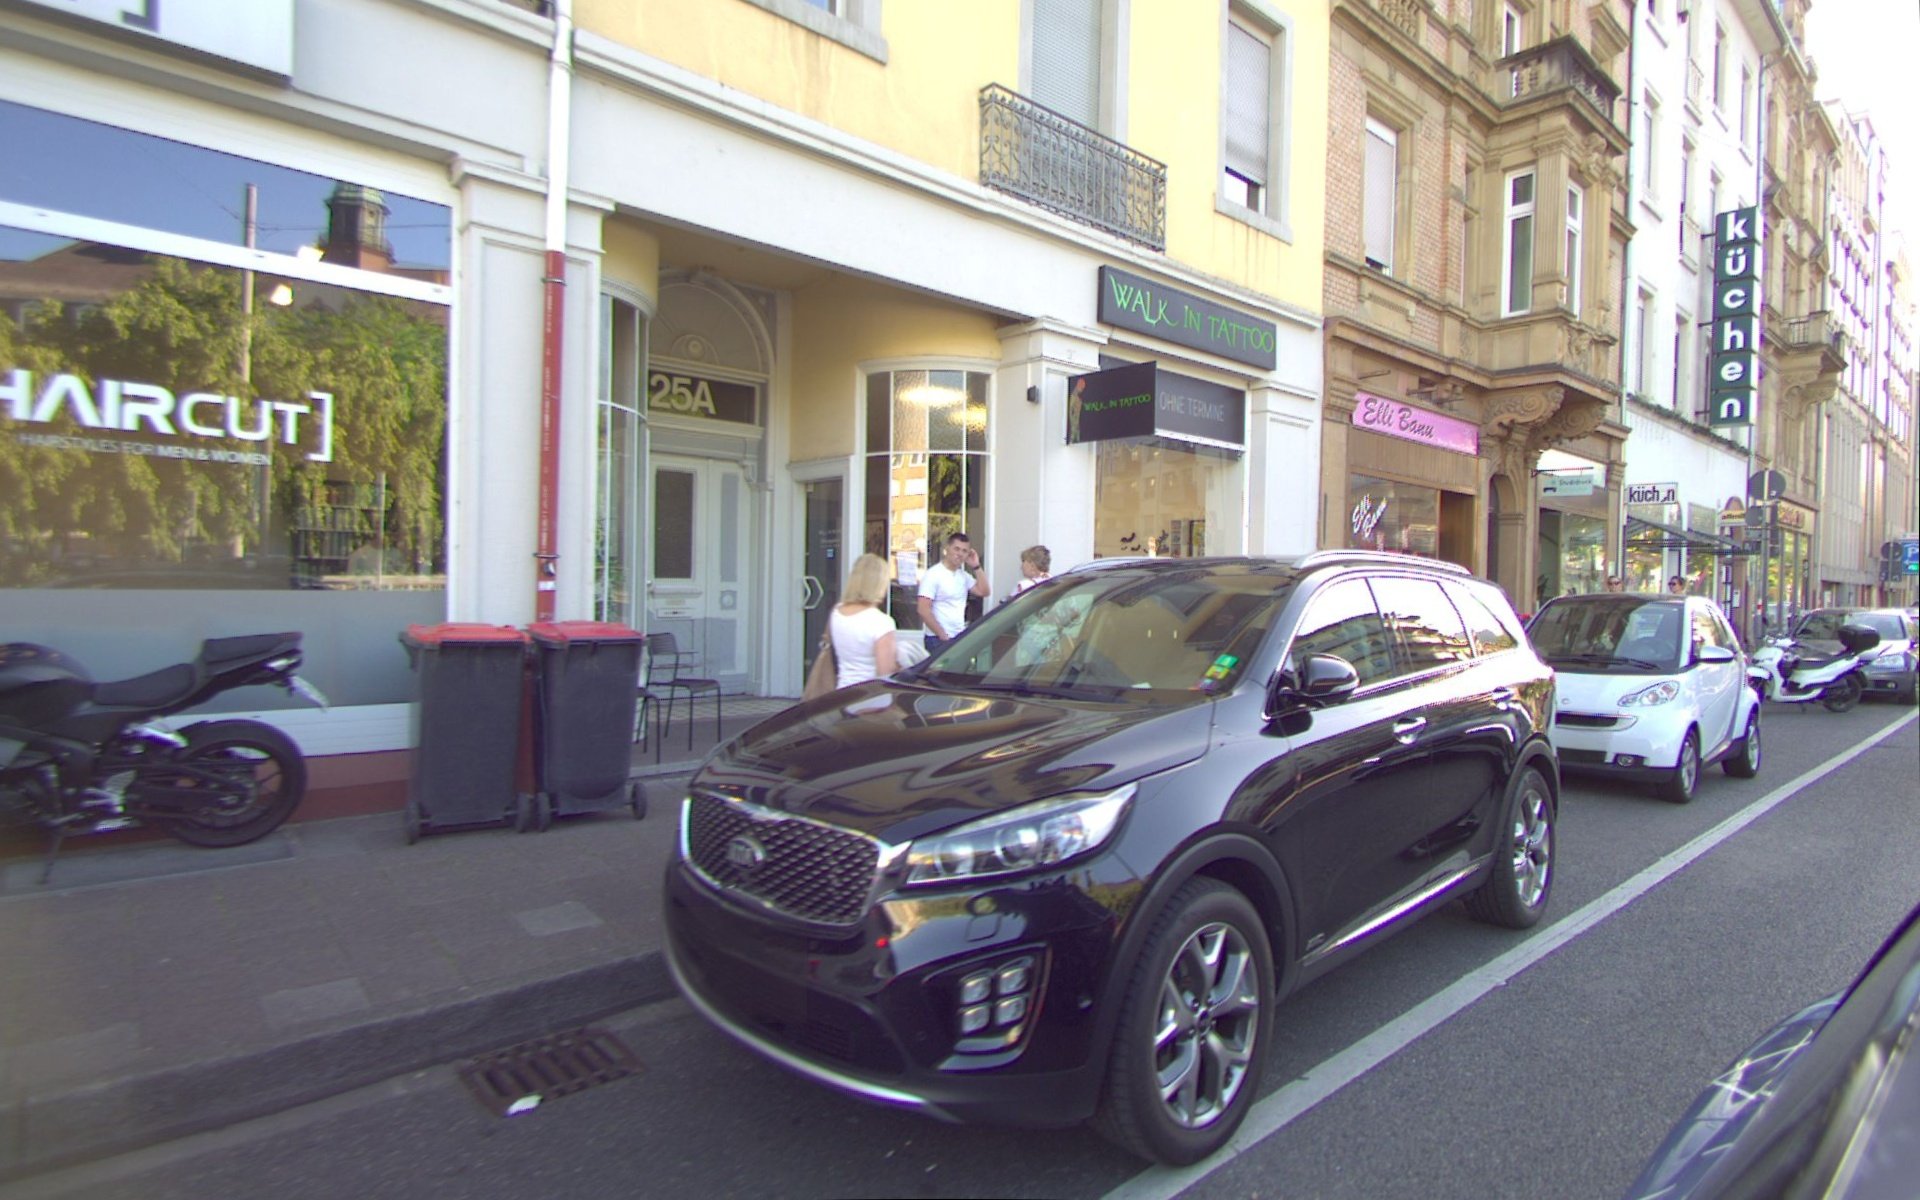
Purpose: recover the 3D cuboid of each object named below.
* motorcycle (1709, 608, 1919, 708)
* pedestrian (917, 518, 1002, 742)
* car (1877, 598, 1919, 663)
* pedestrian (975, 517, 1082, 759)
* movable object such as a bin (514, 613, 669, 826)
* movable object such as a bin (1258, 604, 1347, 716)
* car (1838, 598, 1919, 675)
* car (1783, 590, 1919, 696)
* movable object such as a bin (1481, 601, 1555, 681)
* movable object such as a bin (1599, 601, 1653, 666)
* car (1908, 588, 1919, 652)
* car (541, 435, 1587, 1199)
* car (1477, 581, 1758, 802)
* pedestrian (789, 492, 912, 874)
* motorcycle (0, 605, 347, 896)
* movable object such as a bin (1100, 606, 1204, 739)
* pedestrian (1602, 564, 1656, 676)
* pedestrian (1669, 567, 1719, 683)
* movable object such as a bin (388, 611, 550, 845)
[{"bbox_3d":[11.920,0.787,14.165,2.137,1.295,0.866,1,0,8],"label":"motorcycle"},{"bbox_3d":[-0.007,0.223,7.877,0.513,1.681,0.338,1,1,-33],"label":"pedestrian"},{"bbox_3d":[22.757,0.685,23.495,3.735,1.435,1.736,0,1,-41],"label":"car"},{"bbox_3d":[0.496,0.256,7.372,0.582,1.681,0.451,1,2,-39],"label":"pedestrian"},{"bbox_3d":[-2.054,0.617,5.615,0.608,1.037,0.669,1,3,-38],"label":"movable object such as a bin"},{"bbox_3d":[3.583,0.604,10.589,0.608,1.079,0.606,1,3,-40],"label":"movable object such as a bin"},{"bbox_3d":[19.387,0.691,20.642,3.735,1.435,1.736,0,1,-41],"label":"car"},{"bbox_3d":[15.021,0.624,16.695,4.095,1.537,1.735,0,1,-43],"label":"car"},{"bbox_3d":[8.097,0.581,14.702,0.608,1.084,0.716,1,3,-40],"label":"movable object such as a bin"},{"bbox_3d":[11.864,0.587,18.028,0.608,1.086,0.606,1,3,-40],"label":"movable object such as a bin"},{"bbox_3d":[27.633,0.546,27.820,3.979,1.711,1.894,0,1,-41],"label":"car"},{"bbox_3d":[0.909,0.559,4.093,4.497,1.758,1.756,0,1,-45],"label":"car"},{"bbox_3d":[5.555,0.629,8.453,2.746,1.537,1.274,0,0,-41],"label":"car"},{"bbox_3d":[-0.539,0.384,5.046,0.430,1.785,0.477,0,0,26],"label":"pedestrian"},{"bbox_3d":[-3.782,0.590,4.263,1.974,1.105,0.551,0,2,-42],"label":"motorcycle"},{"bbox_3d":[1.700,0.614,8.980,0.608,1.079,0.606,1,3,-40],"label":"movable object such as a bin"},{"bbox_3d":[10.107,0.288,15.303,0.613,1.653,0.458,1,0,27],"label":"pedestrian"},{"bbox_3d":[10.642,0.353,14.691,0.408,1.653,0.513,1,0,14],"label":"pedestrian"},{"bbox_3d":[-2.534,0.610,5.205,0.608,1.054,0.662,1,3,-38],"label":"movable object such as a bin"}]
